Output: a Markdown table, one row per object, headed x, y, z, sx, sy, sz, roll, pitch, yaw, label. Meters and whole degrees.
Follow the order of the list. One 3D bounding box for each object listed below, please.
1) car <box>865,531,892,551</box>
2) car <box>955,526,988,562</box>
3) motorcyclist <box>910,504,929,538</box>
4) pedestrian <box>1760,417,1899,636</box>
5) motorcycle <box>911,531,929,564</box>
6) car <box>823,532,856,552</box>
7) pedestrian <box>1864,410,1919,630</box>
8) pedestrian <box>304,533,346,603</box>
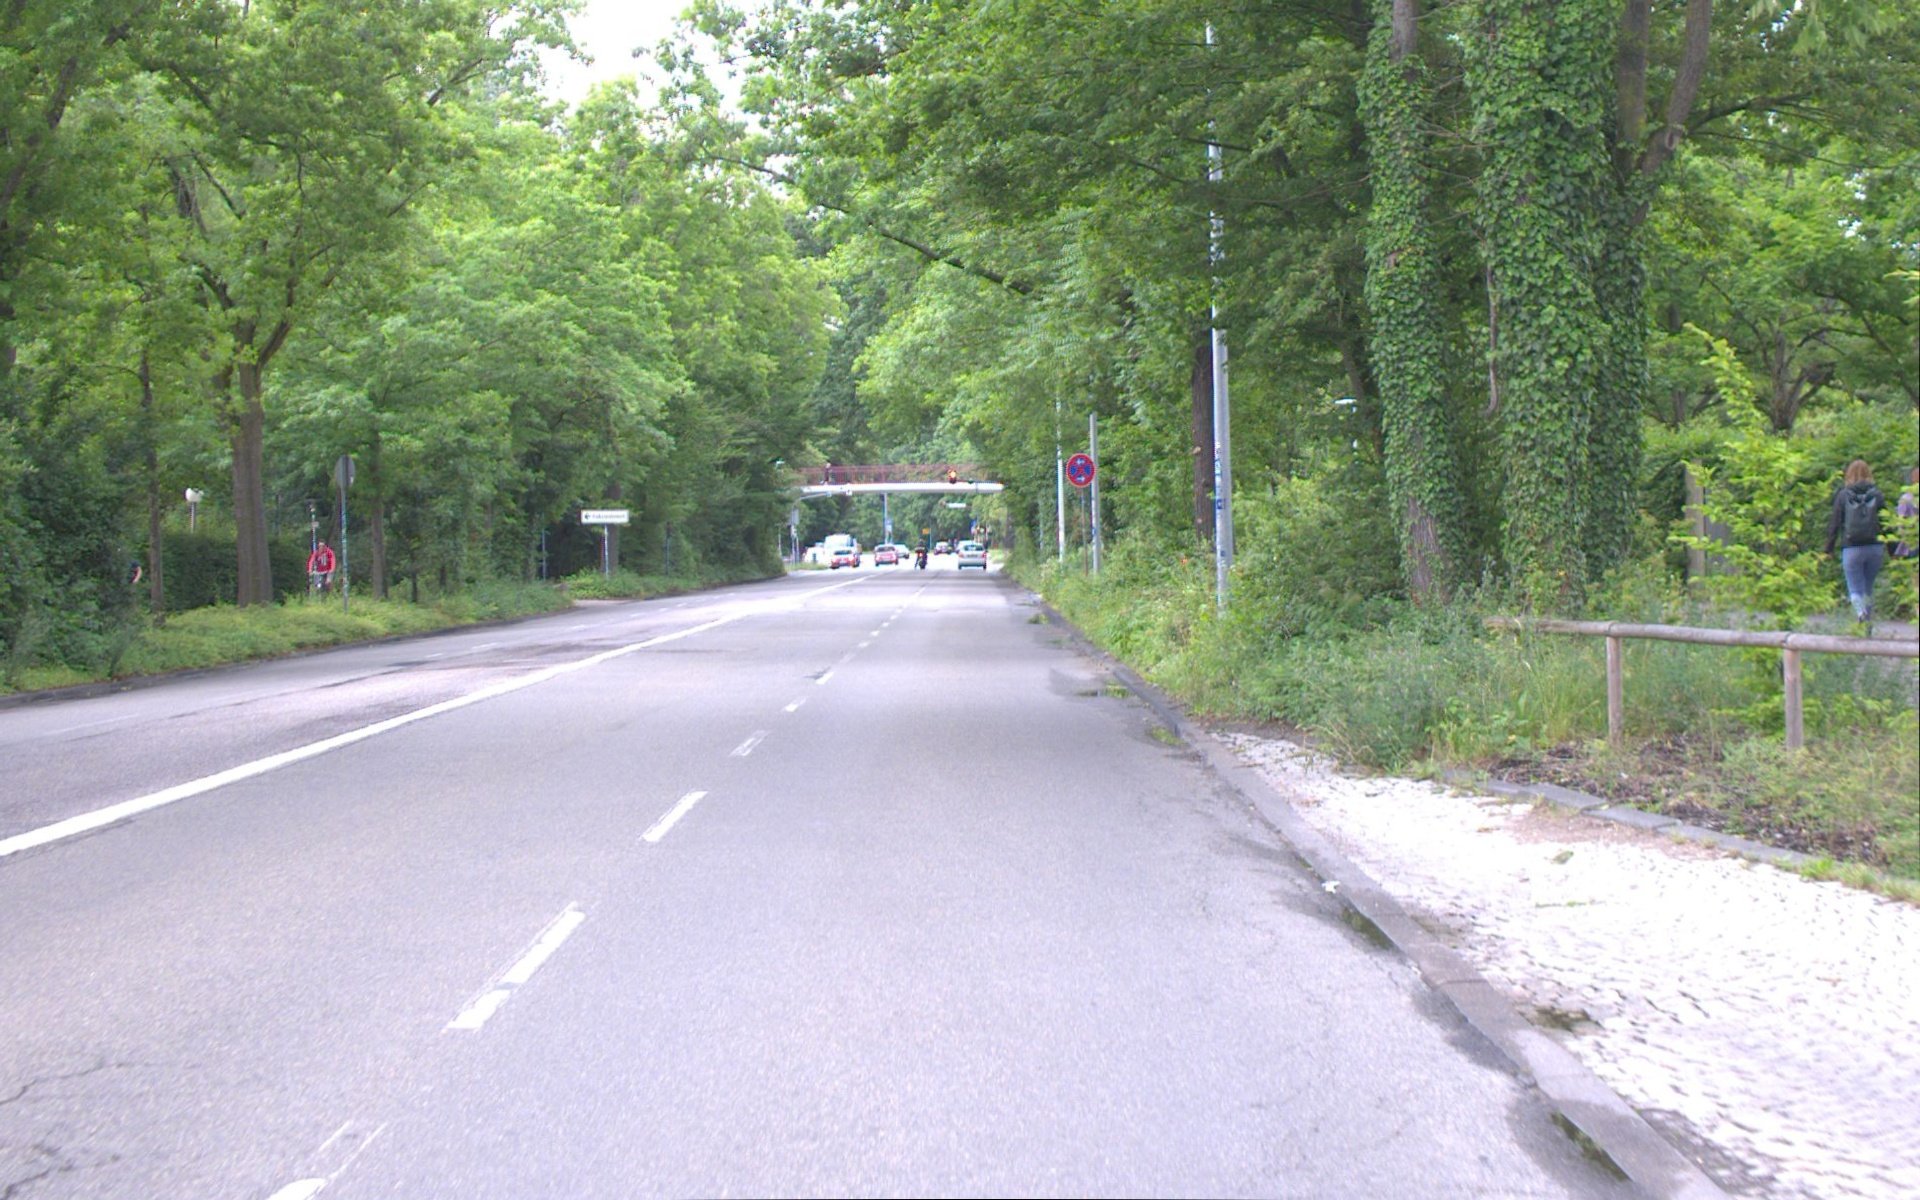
| x | y | z | sx | sy | sz | roll | pitch | yaw | label |
| --- | --- | --- | --- | --- | --- | --- | --- | --- | --- |
| -5.765 | -4.196 | 244.649 | 1.675 | 1.357 | 3.921 | 0 | 1 | 2 | car |
| 0.659 | -3.204 | 197.279 | 1.843 | 2.007 | 4.000 | 0 | 1 | 0 | car |
| -2.362 | -4.626 | 201.013 | 1.063 | 2.007 | 0.843 | 0 | 1 | 0 | motorcyclist |
| 8.245 | -0.700 | 32.631 | 0.925 | 2.007 | 1.040 | -3 | 1 | -4 | pedestrian |
| -2.330 | -3.084 | 200.990 | 0.990 | 1.929 | 2.669 | 0 | 1 | 0 | motorcycle |
| -8.553 | -4.147 | 244.439 | 1.994 | 1.349 | 3.894 | 0 | 1 | 3 | car |
| 8.984 | -0.758 | 32.004 | 0.824 | 2.007 | 0.720 | -4 | 1 | 0 | pedestrian |
| -14.762 | -0.757 | 79.944 | 0.792 | 1.608 | 0.848 | 0 | 1 | 0 | pedestrian |
